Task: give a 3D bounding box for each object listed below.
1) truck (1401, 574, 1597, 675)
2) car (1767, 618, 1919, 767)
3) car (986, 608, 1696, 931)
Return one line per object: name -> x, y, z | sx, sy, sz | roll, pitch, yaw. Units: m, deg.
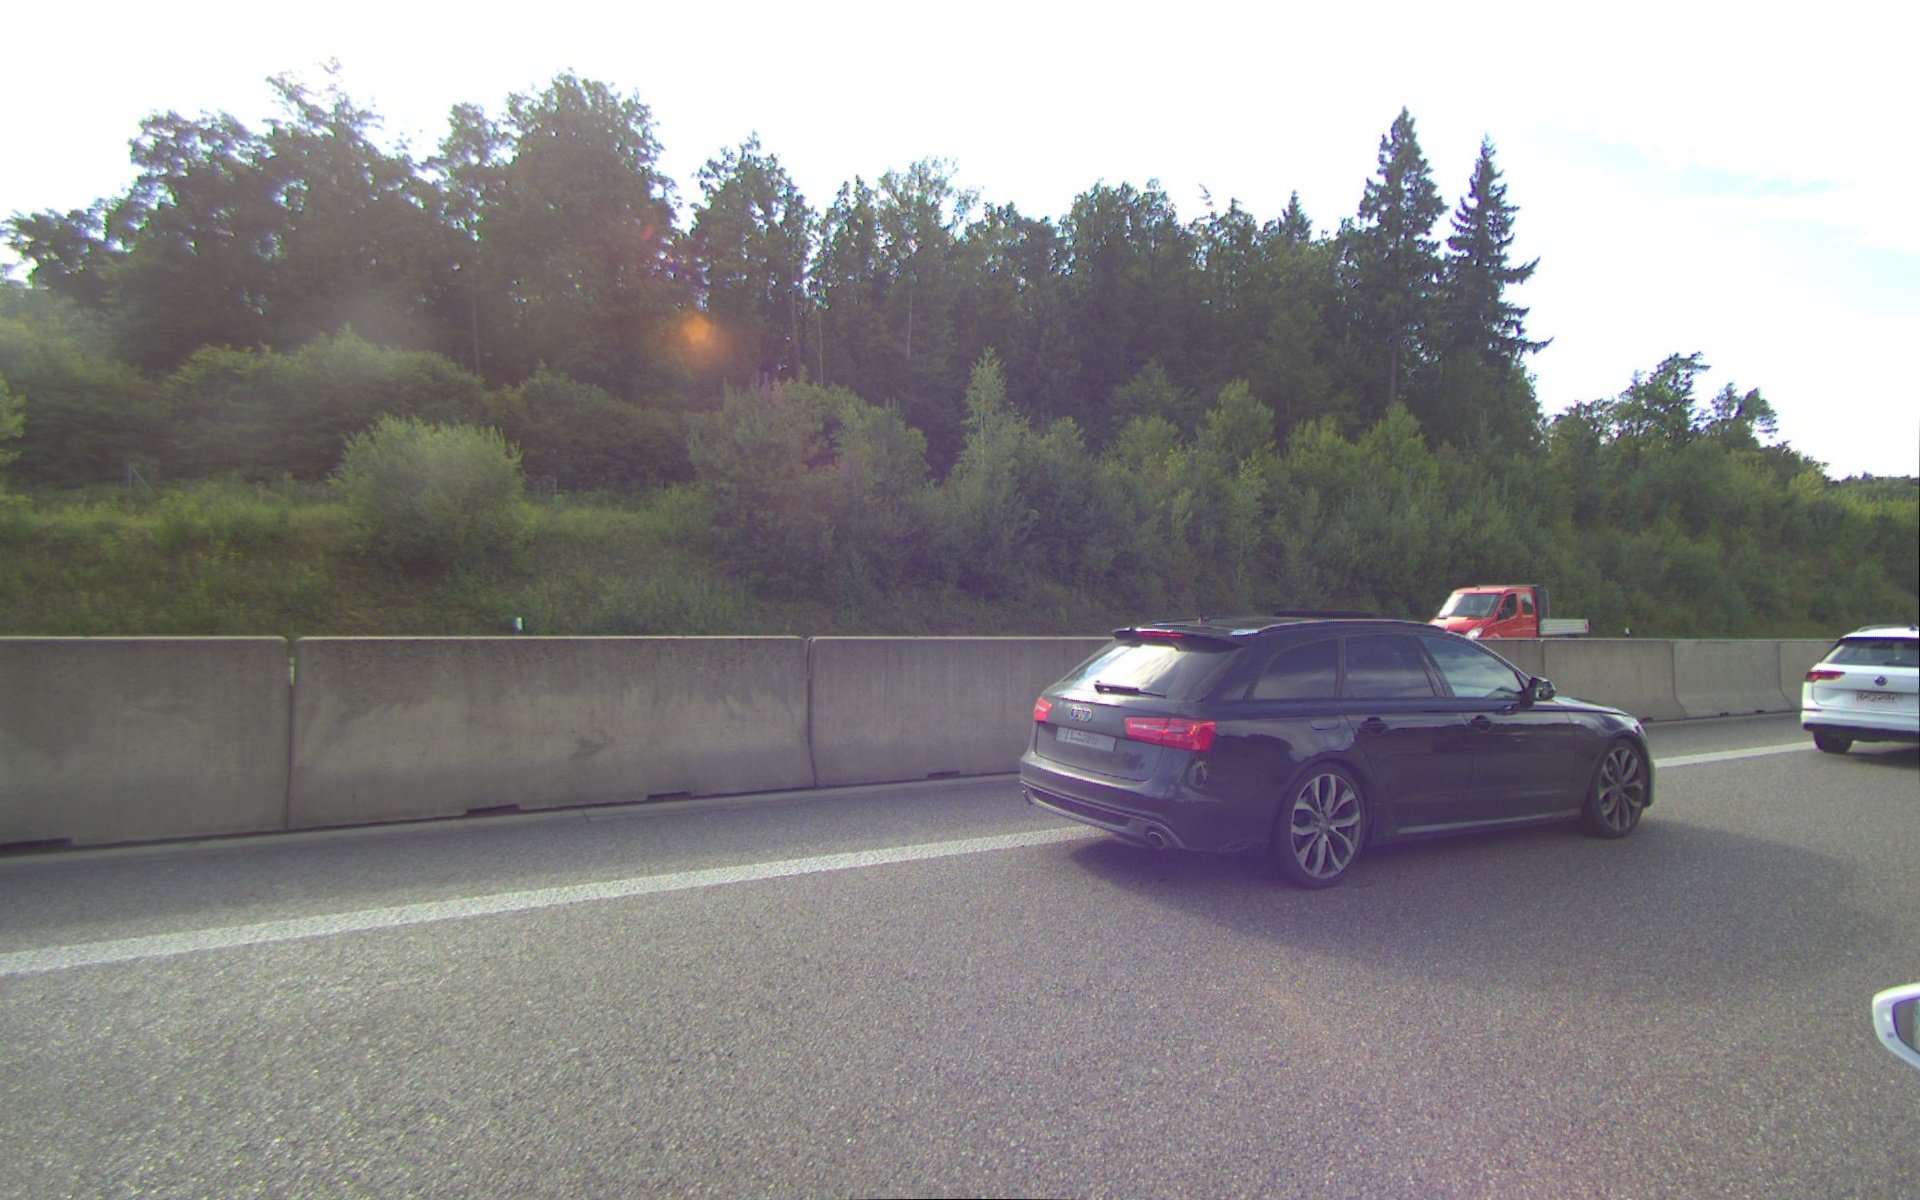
truck -> 16.870, 0.749, 31.315 | 6.355, 2.893, 2.411 | 1, 0, -31
car -> 11.324, 0.998, 11.487 | 4.256, 1.480, 1.797 | 2, -1, -29
car -> 2.650, 0.838, 6.641 | 4.691, 1.475, 1.834 | 1, 0, -30
